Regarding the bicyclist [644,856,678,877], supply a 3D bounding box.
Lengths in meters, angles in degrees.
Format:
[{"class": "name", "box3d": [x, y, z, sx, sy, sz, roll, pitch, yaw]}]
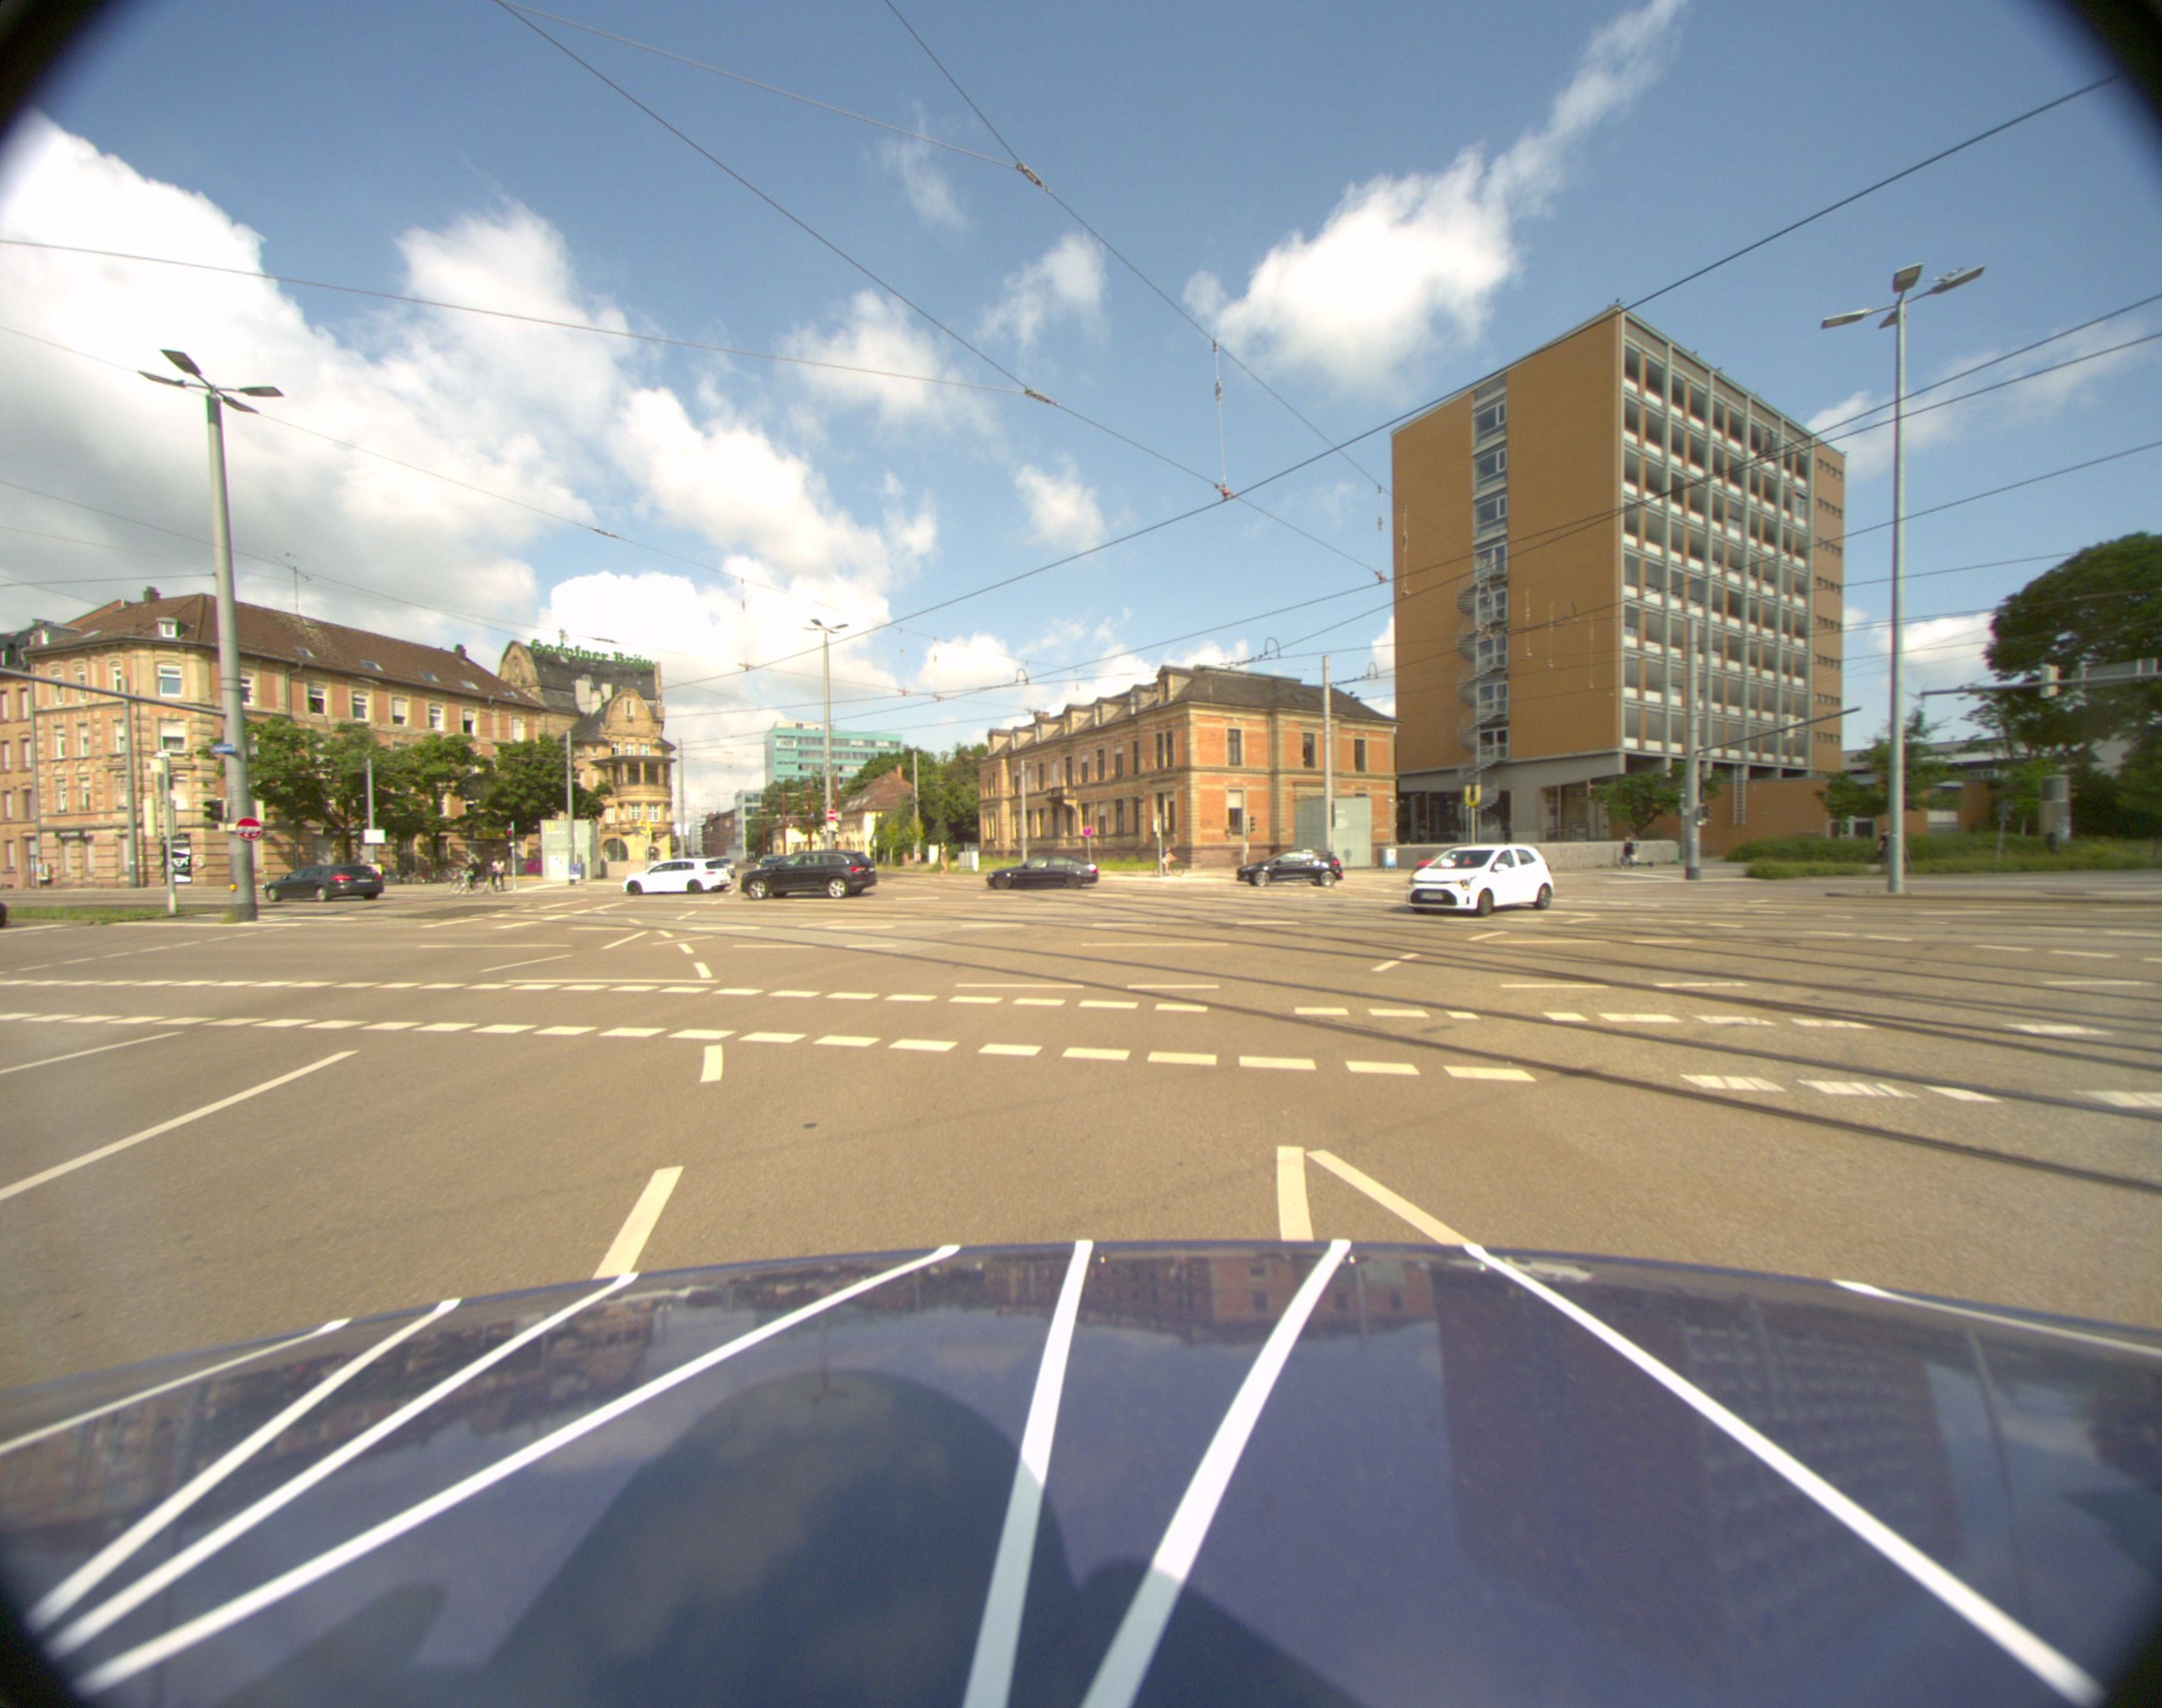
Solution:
[{"class": "bicyclist", "box3d": [-22.739, 0.691, 41.165, 1.214, 1.022, 0.993, -3, 2, -1]}]

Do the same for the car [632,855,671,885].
[{"class": "car", "box3d": [-26.468, 0.948, 46.918, 1.757, 1.592, 3.990, -3, 3, -26]}]

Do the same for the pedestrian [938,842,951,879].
[{"class": "pedestrian", "box3d": [-7.743, 0.365, 43.082, 0.660, 2.003, 0.648, -2, 3, -9]}]

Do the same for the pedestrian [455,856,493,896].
[{"class": "pedestrian", "box3d": [-29.233, 1.034, 36.603, 0.993, 1.831, 0.997, 0, 3, 26]}]

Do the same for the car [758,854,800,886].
[{"class": "car", "box3d": [-19.005, 0.963, 47.727, 2.002, 1.730, 4.330, -3, 3, -27]}]

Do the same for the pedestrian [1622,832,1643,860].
[{"class": "pedestrian", "box3d": [32.331, -0.476, 44.538, 0.936, 1.579, 0.766, -1, 1, 30]}]

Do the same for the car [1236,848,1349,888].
[{"class": "car", "box3d": [8.196, 0.532, 29.703, 3.995, 1.445, 1.714, -1, 1, 6]}]

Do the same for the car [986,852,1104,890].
[{"class": "car", "box3d": [-1.356, 0.662, 29.939, 4.505, 1.390, 2.000, 0, 1, 2]}]

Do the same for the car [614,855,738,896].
[{"class": "car", "box3d": [-16.582, 0.867, 31.171, 4.226, 1.438, 1.685, -2, 1, 8]}]

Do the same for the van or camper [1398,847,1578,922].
[{"class": "van or camper", "box3d": [9.037, 0.606, 16.796, 4.006, 1.467, 1.624, -1, 0, -30]}]

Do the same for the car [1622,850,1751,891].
[{"class": "car", "box3d": [20.099, 0.519, 25.309, 3.008, 1.207, 1.609, -2, 1, 0]}]

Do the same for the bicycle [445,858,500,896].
[{"class": "bicycle", "box3d": [-29.333, 1.076, 36.618, 2.462, 1.716, 1.010, 0, 3, 26]}]

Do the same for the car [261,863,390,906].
[{"class": "car", "box3d": [-30.284, 1.185, 30.477, 4.247, 1.520, 1.774, 0, 2, 16]}]

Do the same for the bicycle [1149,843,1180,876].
[{"class": "bicycle", "box3d": [4.567, 0.309, 41.413, 1.635, 1.767, 0.732, -1, 1, 10]}]

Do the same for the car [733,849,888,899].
[{"class": "car", "box3d": [-9.389, 0.675, 26.649, 4.680, 1.658, 2.000, 0, 1, 1]}]

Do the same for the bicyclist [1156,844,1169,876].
[{"class": "bicyclist", "box3d": [4.439, 0.324, 41.449, 0.655, 1.662, 0.574, -1, 3, 10]}]

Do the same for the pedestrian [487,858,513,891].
[{"class": "pedestrian", "box3d": [-29.167, 1.023, 38.154, 0.709, 1.633, 0.795, 0, 1, -11]}]

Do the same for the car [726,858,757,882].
[{"class": "car", "box3d": [-25.298, 1.138, 56.510, 1.919, 1.500, 3.990, -3, 3, -26]}]

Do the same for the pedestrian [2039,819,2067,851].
[{"class": "pedestrian", "box3d": [46.703, -0.906, 36.509, 0.580, 1.513, 0.479, -1, 6, 4]}]

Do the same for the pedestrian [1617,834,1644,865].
[{"class": "pedestrian", "box3d": [27.948, -0.227, 38.666, 0.765, 1.578, 0.772, -1, -1, -15]}]

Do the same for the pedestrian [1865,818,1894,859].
[{"class": "pedestrian", "box3d": [40.825, -0.786, 38.861, 0.805, 2.004, 0.726, 4, 9, 40]}]

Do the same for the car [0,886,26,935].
[{"class": "car", "box3d": [-28.634, 1.441, 18.782, 3.992, 1.155, 1.628, 0, 3, 16]}]
